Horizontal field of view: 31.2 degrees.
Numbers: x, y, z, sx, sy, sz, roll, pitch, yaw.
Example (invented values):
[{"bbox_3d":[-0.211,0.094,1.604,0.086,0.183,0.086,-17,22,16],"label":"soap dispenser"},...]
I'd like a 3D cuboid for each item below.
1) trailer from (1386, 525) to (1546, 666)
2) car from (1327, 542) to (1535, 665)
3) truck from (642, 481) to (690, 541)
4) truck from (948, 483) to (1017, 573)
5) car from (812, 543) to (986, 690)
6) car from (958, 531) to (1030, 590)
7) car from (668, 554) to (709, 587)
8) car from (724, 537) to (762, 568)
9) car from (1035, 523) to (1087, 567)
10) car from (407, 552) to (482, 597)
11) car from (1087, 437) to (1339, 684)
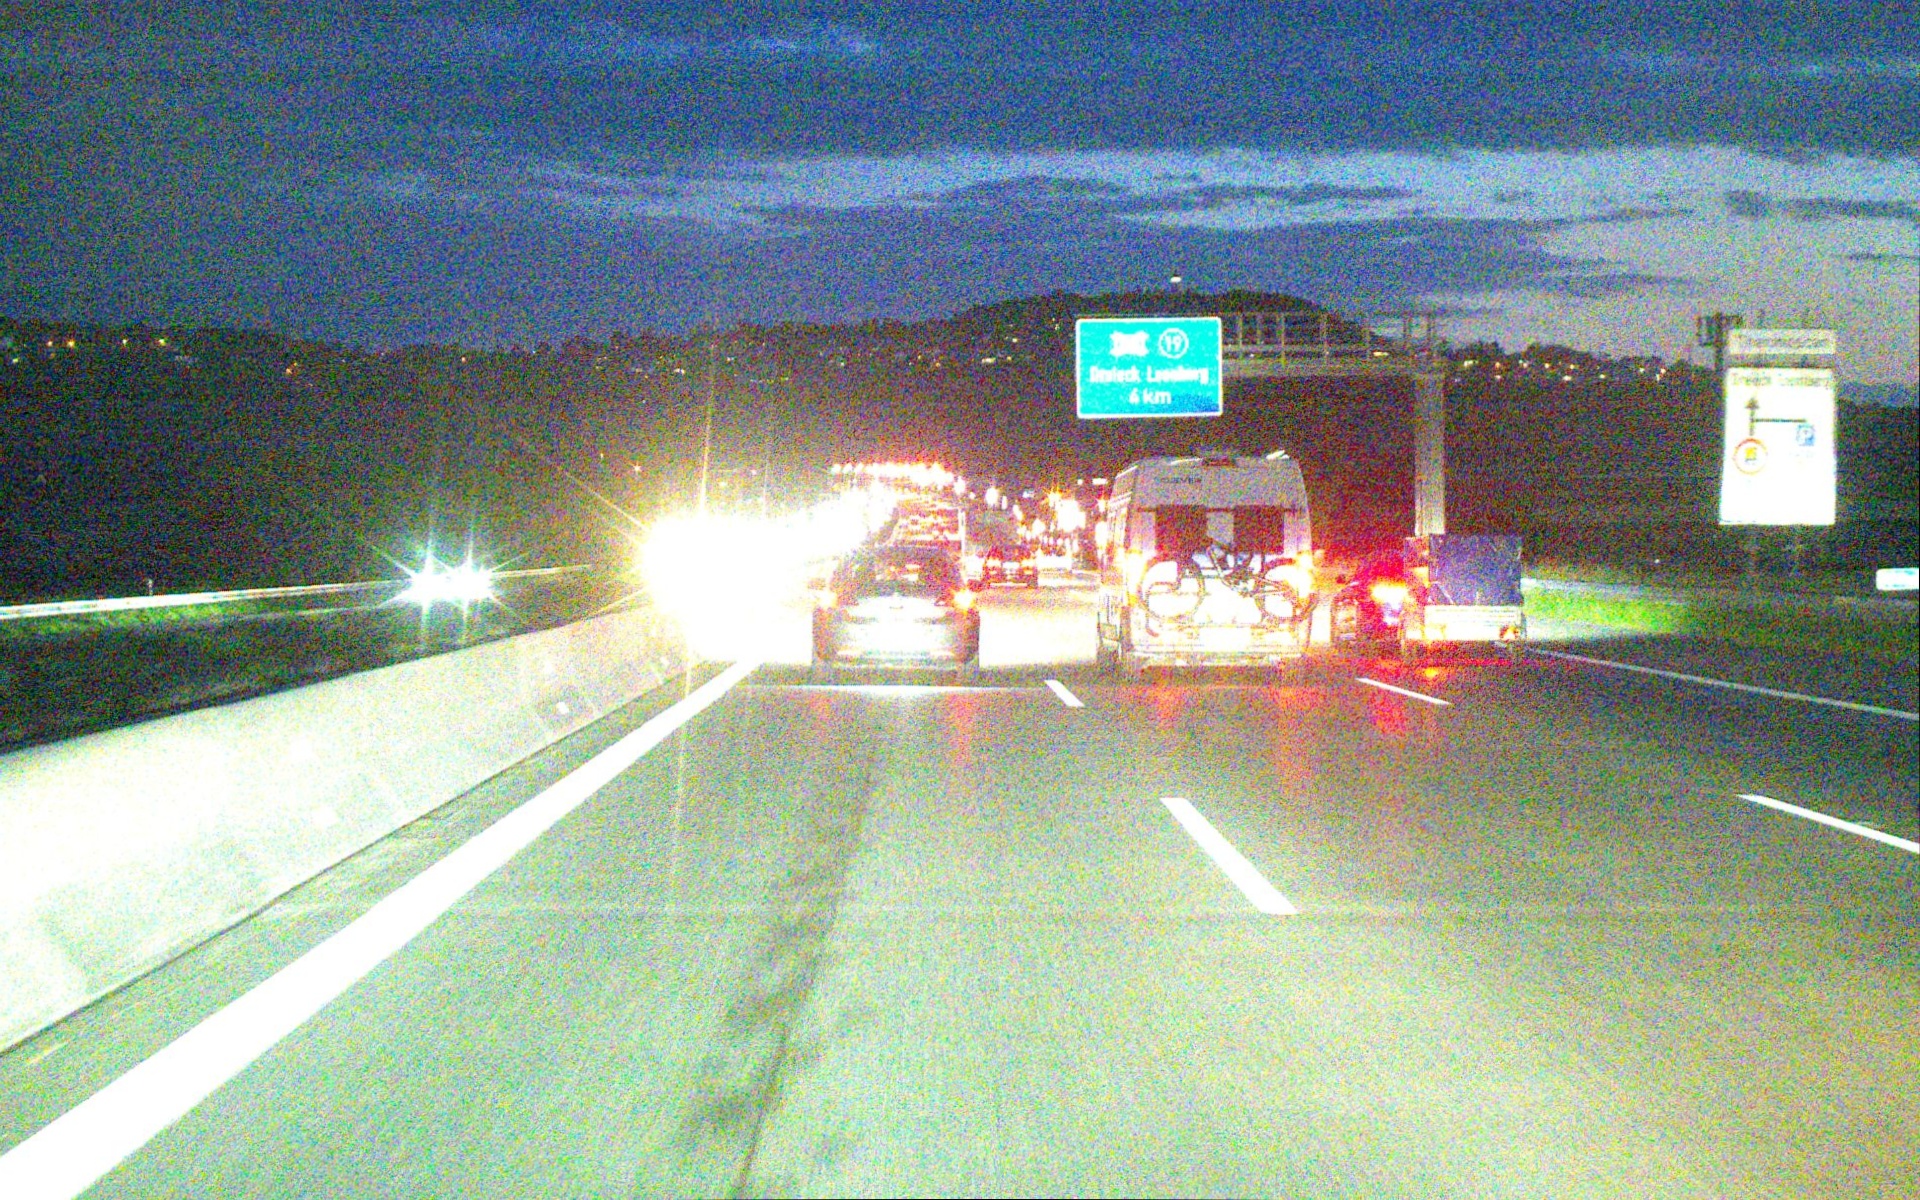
[{"bbox_3d":[6.317,-0.082,43.161,1.566,1.687,2.821,-1,1,0],"label":"trailer"},{"bbox_3d":[6.341,0.007,46.802,2.163,1.558,4.723,0,1,0],"label":"car"},{"bbox_3d":[-19.833,-6.013,232.469,2.781,3.942,7.994,-1,1,-2],"label":"truck"},{"bbox_3d":[0.998,-3.251,156.509,2.781,3.942,7.994,-1,1,-2],"label":"truck"},{"bbox_3d":[-0.639,0.141,37.372,1.793,1.464,3.773,0,1,0],"label":"car"},{"bbox_3d":[1.125,-1.354,116.673,2.351,1.907,4.723,-1,1,0],"label":"car"},{"bbox_3d":[-14.111,-1.564,178.708,1.812,1.637,4.158,-1,1,0],"label":"car"},{"bbox_3d":[-11.715,-2.581,185.744,1.812,1.637,4.158,-1,1,0],"label":"car"},{"bbox_3d":[4.959,-2.703,168.855,2.351,2.068,4.723,-1,1,0],"label":"car"},{"bbox_3d":[-18.598,-0.942,124.213,1.993,1.473,5.045,-3,1,-1],"label":"car"},{"bbox_3d":[2.743,-0.489,38.625,2.351,2.526,5.701,-1,1,0],"label":"car"}]
